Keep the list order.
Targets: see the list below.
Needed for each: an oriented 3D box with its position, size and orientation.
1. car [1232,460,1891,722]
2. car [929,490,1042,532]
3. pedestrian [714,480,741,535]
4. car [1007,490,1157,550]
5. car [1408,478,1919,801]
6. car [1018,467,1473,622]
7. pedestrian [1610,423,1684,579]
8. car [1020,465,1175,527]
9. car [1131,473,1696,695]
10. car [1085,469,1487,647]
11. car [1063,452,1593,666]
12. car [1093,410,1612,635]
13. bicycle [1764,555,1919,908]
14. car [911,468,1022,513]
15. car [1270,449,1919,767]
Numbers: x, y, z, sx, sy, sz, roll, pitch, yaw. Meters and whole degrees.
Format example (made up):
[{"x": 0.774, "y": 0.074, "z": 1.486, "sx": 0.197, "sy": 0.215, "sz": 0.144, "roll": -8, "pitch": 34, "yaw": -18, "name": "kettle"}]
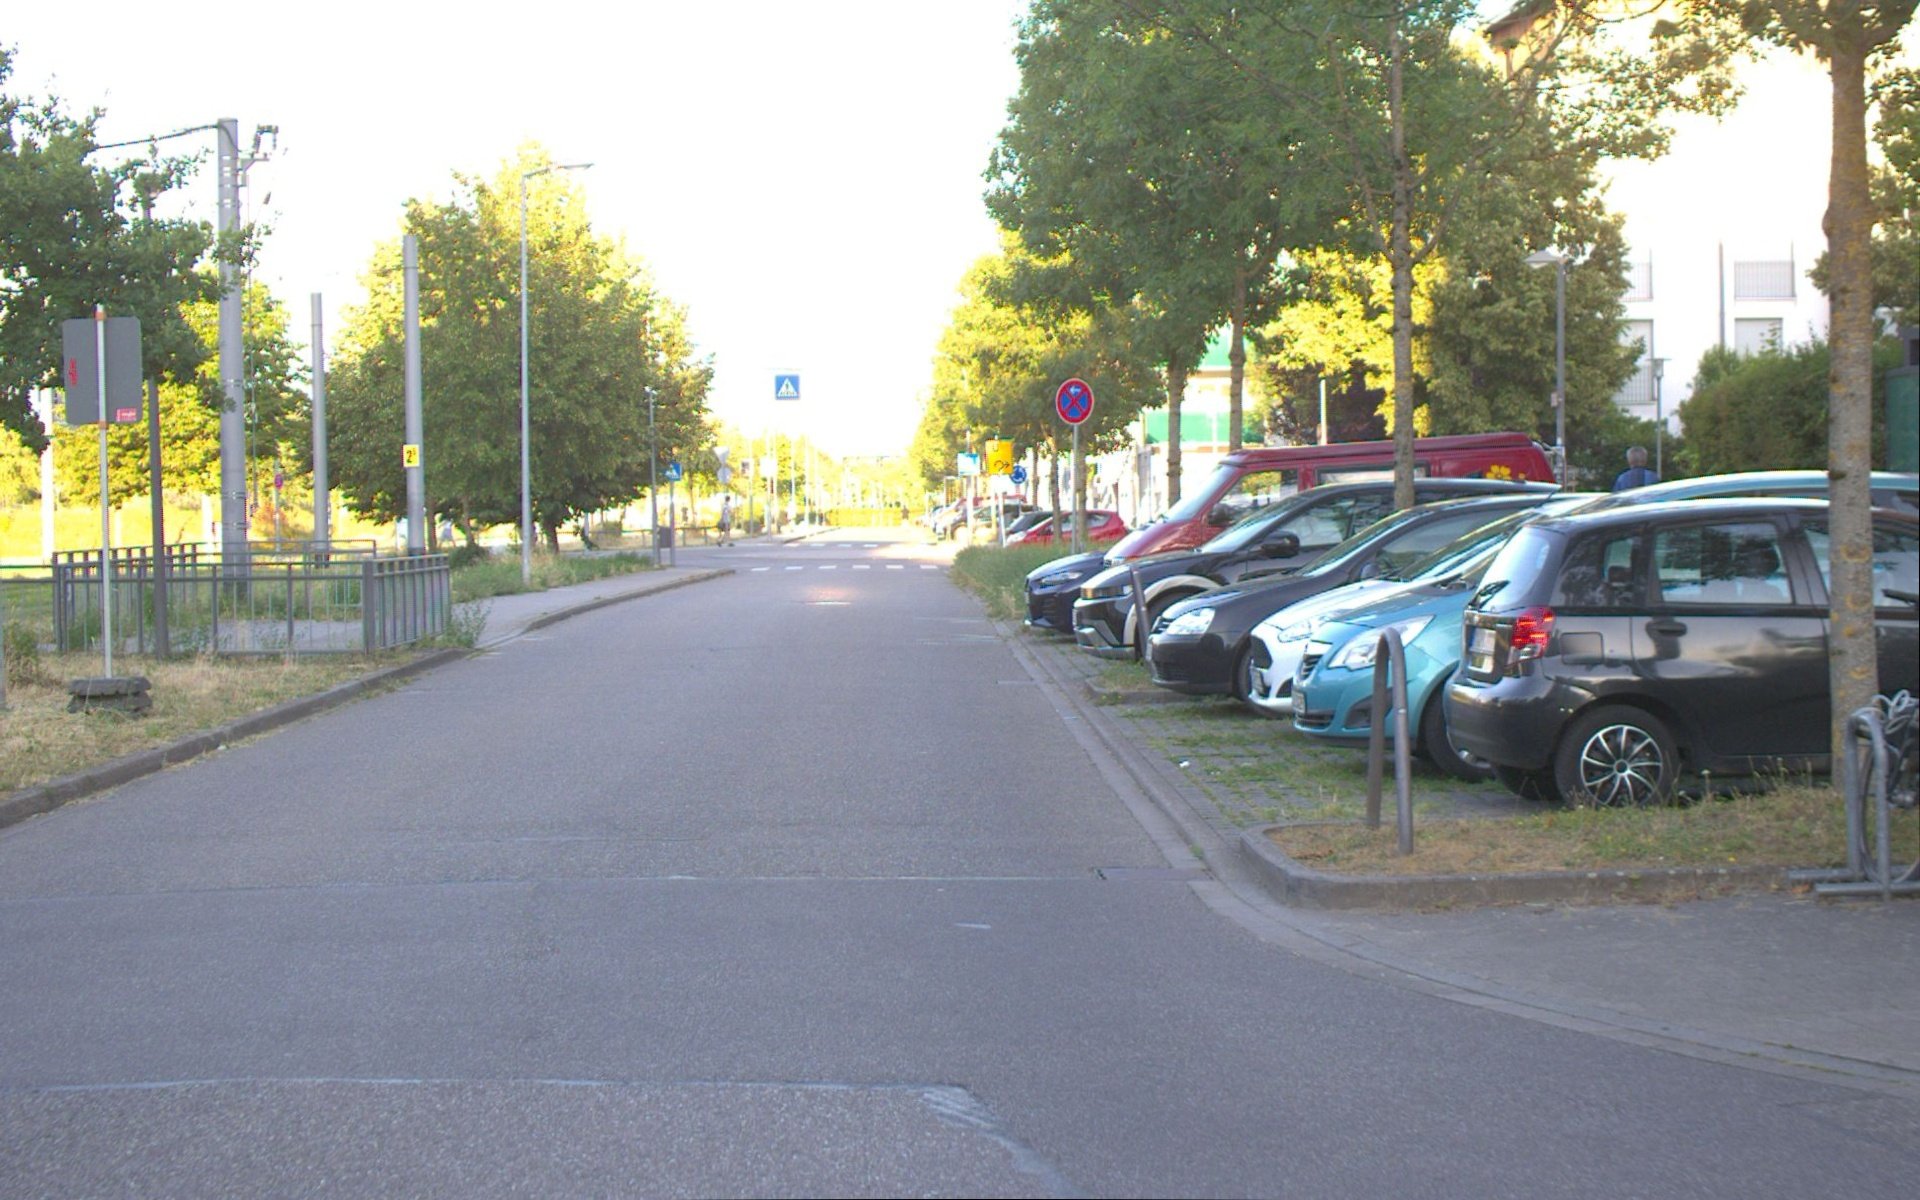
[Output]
[{"x": 3.743, "y": -0.084, "z": 21.815, "sx": 3.876, "sy": 1.563, "sz": 1.620, "roll": -1, "pitch": 2, "yaw": -1, "name": "car"}, {"x": 1.023, "y": -3.601, "z": 138.327, "sx": 4.484, "sy": 1.590, "sz": 2.000, "roll": -1, "pitch": 2, "yaw": 0, "name": "car"}, {"x": -8.648, "y": -3.433, "z": 127.705, "sx": 0.846, "sy": 2.006, "sz": 0.943, "roll": -1, "pitch": 2, "yaw": 5, "name": "pedestrian"}, {"x": 3.196, "y": -2.117, "z": 90.607, "sx": 3.802, "sy": 1.503, "sz": 1.679, "roll": -1, "pitch": 2, "yaw": -3, "name": "car"}, {"x": 4.219, "y": 0.144, "z": 16.806, "sx": 3.748, "sy": 1.468, "sz": 1.614, "roll": -1, "pitch": 2, "yaw": -5, "name": "car"}, {"x": 2.997, "y": -0.616, "z": 36.784, "sx": 4.668, "sy": 1.551, "sz": 1.811, "roll": -1, "pitch": 2, "yaw": -1, "name": "car"}, {"x": 7.731, "y": -1.114, "z": 38.696, "sx": 0.668, "sy": 1.737, "sz": 0.699, "roll": -1, "pitch": 2, "yaw": -1, "name": "pedestrian"}, {"x": 3.504, "y": -2.670, "z": 87.969, "sx": 3.802, "sy": 1.503, "sz": 1.679, "roll": -1, "pitch": 2, "yaw": -3, "name": "car"}, {"x": 3.161, "y": -0.112, "z": 24.442, "sx": 3.773, "sy": 1.490, "sz": 1.539, "roll": -1, "pitch": 0, "yaw": -1, "name": "car"}, {"x": 2.999, "y": -0.408, "z": 32.085, "sx": 3.525, "sy": 1.460, "sz": 1.616, "roll": -3, "pitch": 2, "yaw": -1, "name": "car"}, {"x": 3.053, "y": -0.369, "z": 29.105, "sx": 4.215, "sy": 1.563, "sz": 1.793, "roll": -3, "pitch": 2, "yaw": -1, "name": "car"}, {"x": 3.834, "y": -0.783, "z": 34.223, "sx": 4.920, "sy": 2.109, "sz": 2.017, "roll": -1, "pitch": 2, "yaw": 0, "name": "car"}, {"x": 3.631, "y": 0.471, "z": 12.302, "sx": 0.716, "sy": 1.148, "sz": 1.899, "roll": -3, "pitch": 4, "yaw": -11, "name": "bicycle"}, {"x": 0.302, "y": -5.140, "z": 161.407, "sx": 5.002, "sy": 2.038, "sz": 2.251, "roll": -1, "pitch": 2, "yaw": -5, "name": "car"}, {"x": 3.854, "y": 0.002, "z": 19.080, "sx": 4.050, "sy": 1.563, "sz": 1.673, "roll": -2, "pitch": 2, "yaw": -1, "name": "car"}]
